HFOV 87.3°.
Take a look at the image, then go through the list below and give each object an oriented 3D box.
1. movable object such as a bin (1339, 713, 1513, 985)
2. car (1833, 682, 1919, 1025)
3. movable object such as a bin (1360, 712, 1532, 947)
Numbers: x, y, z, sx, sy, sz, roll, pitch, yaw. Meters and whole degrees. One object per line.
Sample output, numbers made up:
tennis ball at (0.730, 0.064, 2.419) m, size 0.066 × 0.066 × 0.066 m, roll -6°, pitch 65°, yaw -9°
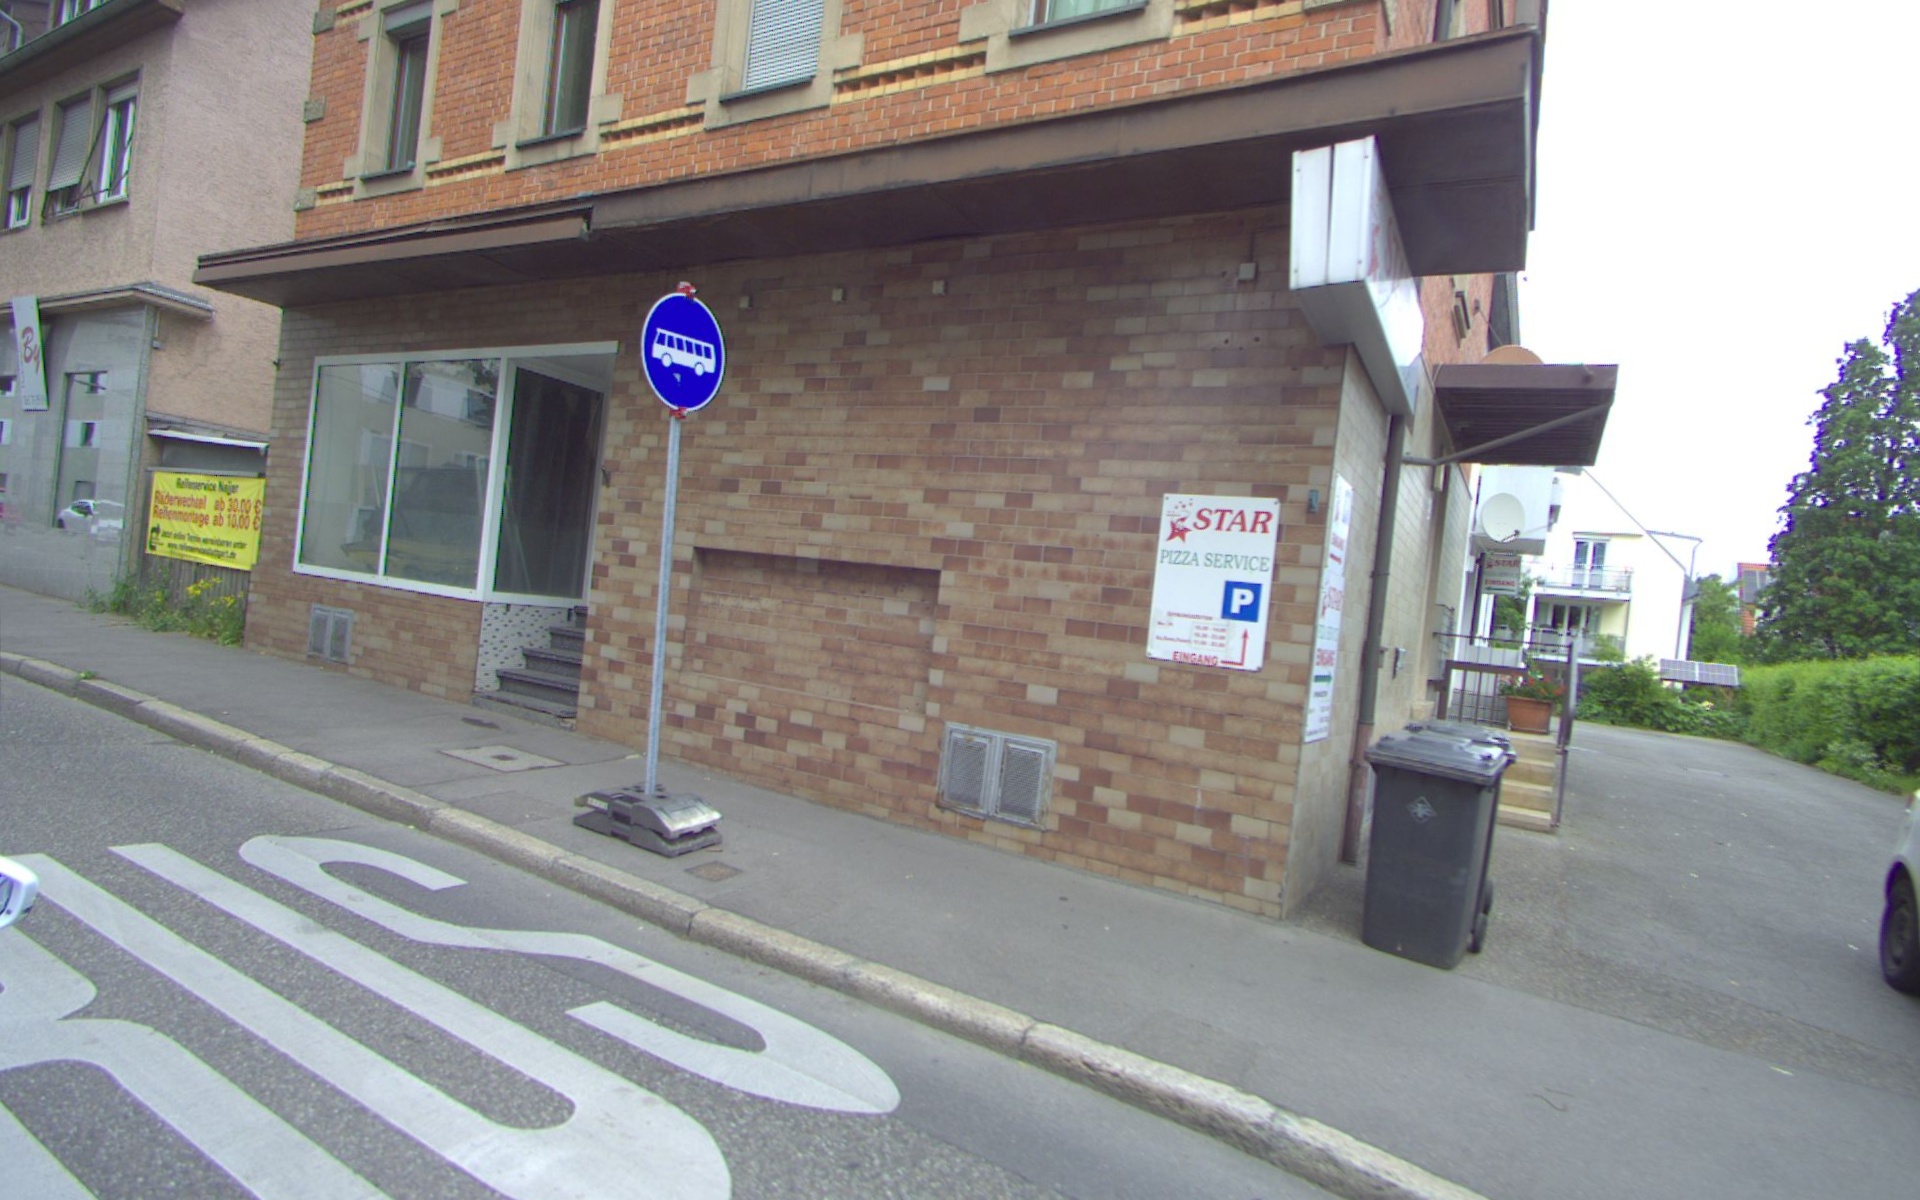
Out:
movable object such as a bin at (2.300, 1.170, 4.948) m, size 0.612 × 1.115 × 0.607 m, roll 6°, pitch 2°, yaw 31°
car at (4.852, 1.282, 3.647) m, size 1.573 × 1.490 × 4.029 m, roll 6°, pitch 3°, yaw 28°
movable object such as a bin at (2.724, 1.230, 5.626) m, size 0.711 × 1.073 × 0.699 m, roll 6°, pitch 2°, yaw 31°
